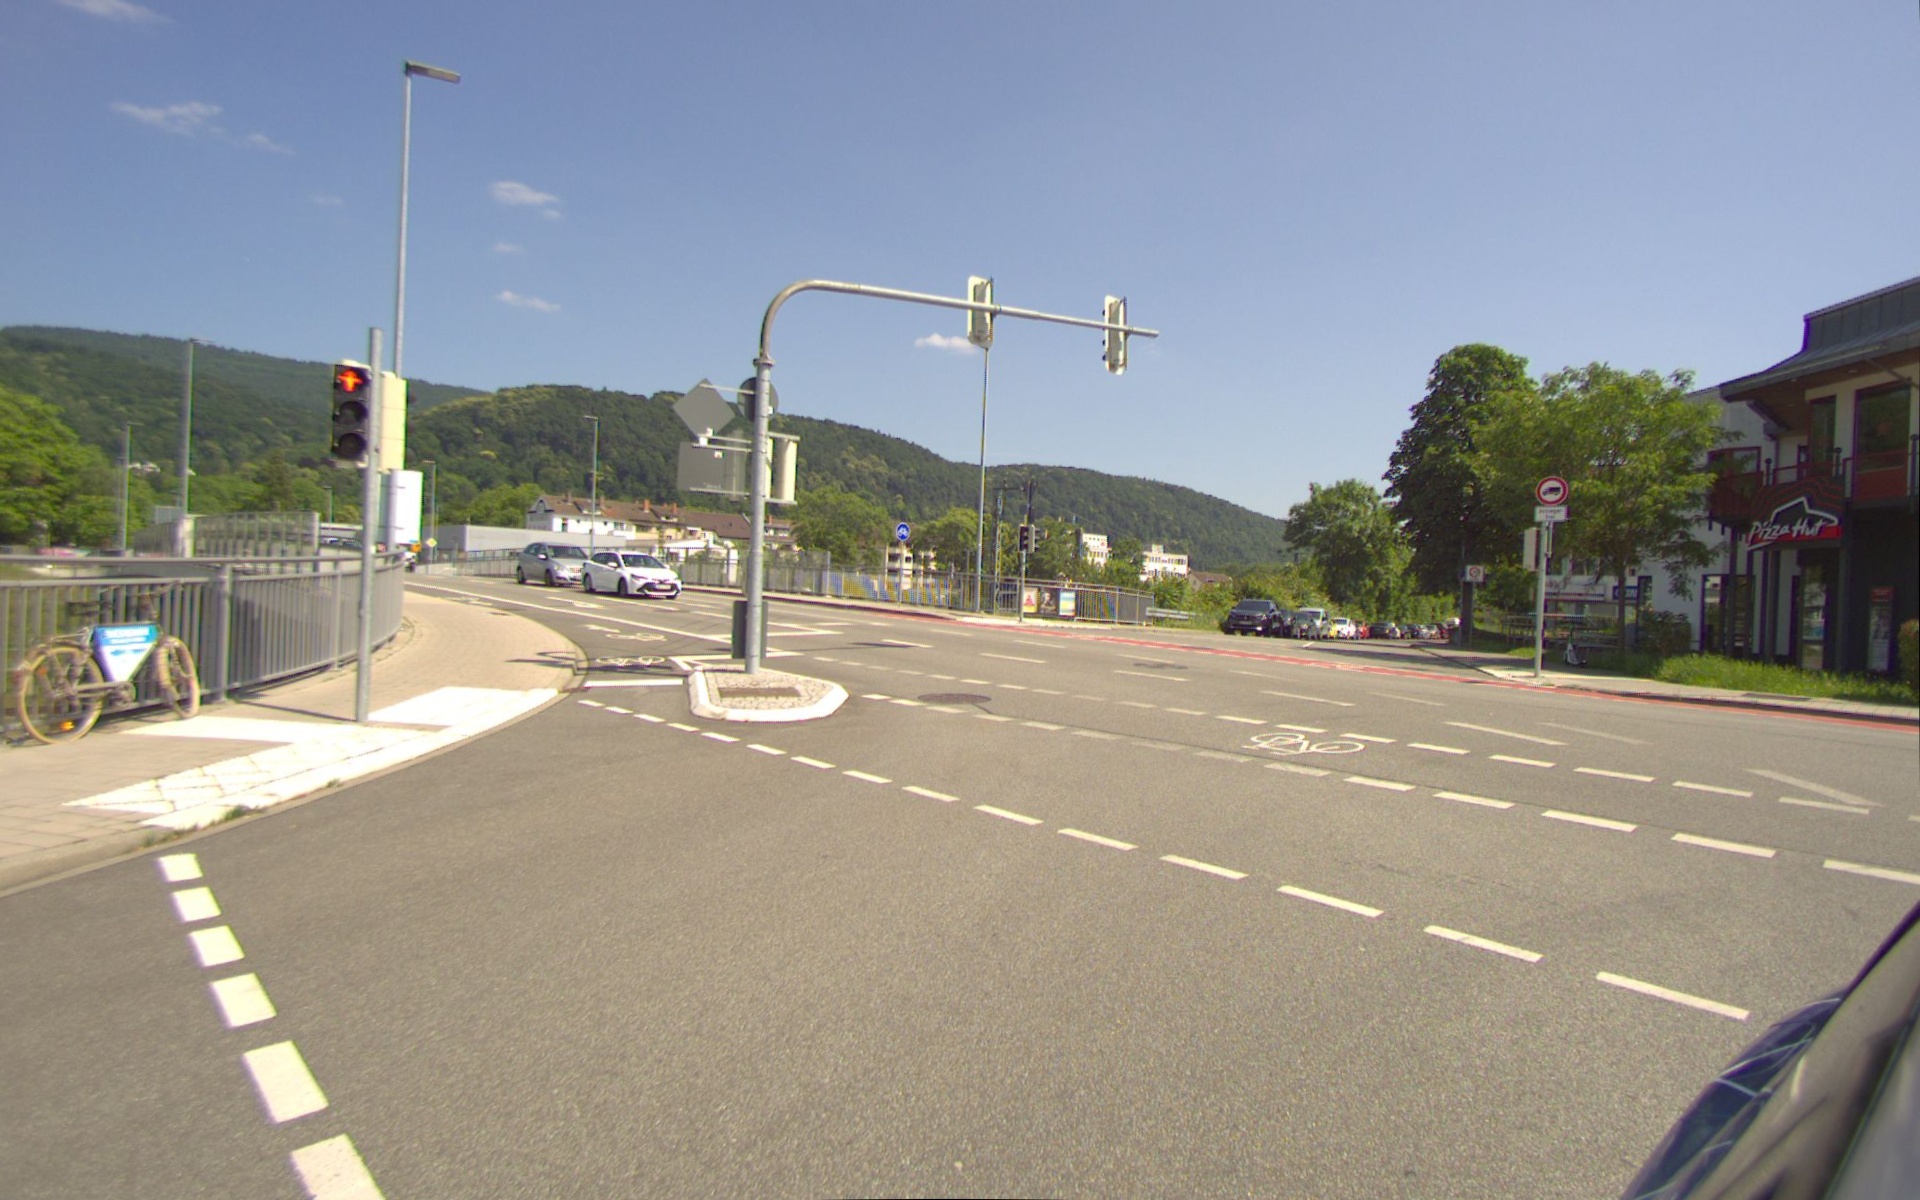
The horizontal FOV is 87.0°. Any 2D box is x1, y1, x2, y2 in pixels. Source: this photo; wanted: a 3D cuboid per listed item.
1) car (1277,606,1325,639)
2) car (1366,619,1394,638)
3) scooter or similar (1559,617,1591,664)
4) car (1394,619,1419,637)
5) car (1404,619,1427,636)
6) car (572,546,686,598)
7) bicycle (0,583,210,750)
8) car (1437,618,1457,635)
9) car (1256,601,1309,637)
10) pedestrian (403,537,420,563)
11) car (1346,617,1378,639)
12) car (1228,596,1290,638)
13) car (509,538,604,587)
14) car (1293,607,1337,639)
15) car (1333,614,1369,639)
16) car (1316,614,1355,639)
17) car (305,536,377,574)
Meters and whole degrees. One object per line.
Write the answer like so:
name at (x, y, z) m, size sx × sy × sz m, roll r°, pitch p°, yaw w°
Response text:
car at (17.821, 1.125, 52.790) m, size 1.659 × 1.552 × 3.959 m, roll 3°, pitch 1°, yaw 29°
car at (34.649, 2.325, 83.429) m, size 1.659 × 1.453 × 3.959 m, roll 3°, pitch 1°, yaw 29°
scooter or similar at (15.531, 1.000, 25.555) m, size 0.425 × 1.137 × 1.430 m, roll 3°, pitch 1°, yaw 40°
car at (40.669, 2.546, 92.122) m, size 1.658 × 1.552 × 3.959 m, roll -2°, pitch -1°, yaw 29°
car at (43.971, 2.609, 97.568) m, size 1.658 × 1.552 × 3.959 m, roll -2°, pitch -1°, yaw 29°
car at (-10.539, -0.909, 32.087) m, size 1.707 × 1.488 × 4.402 m, roll 2°, pitch 1°, yaw -43°
bicycle at (-6.449, 0.441, 7.695) m, size 0.292 × 1.114 × 1.621 m, roll 2°, pitch 1°, yaw -1°
car at (53.679, 2.897, 111.477) m, size 1.658 × 1.751 × 3.959 m, roll -2°, pitch -1°, yaw 29°
car at (15.461, 0.866, 48.392) m, size 1.659 × 1.552 × 3.959 m, roll 3°, pitch 1°, yaw 29°
pedestrian at (-43.986, -3.988, 81.177) m, size 0.843 × 2.039 × 1.153 m, roll 2°, pitch 1°, yaw -44°
car at (29.441, 2.038, 74.060) m, size 1.659 × 1.453 × 3.959 m, roll 3°, pitch 1°, yaw 29°
car at (13.047, 0.699, 44.062) m, size 1.814 × 1.647 × 4.197 m, roll 3°, pitch 1°, yaw 27°
car at (-14.844, -1.413, 37.107) m, size 1.707 × 1.646 × 4.434 m, roll 2°, pitch 1°, yaw -43°
car at (20.193, 1.264, 57.506) m, size 1.659 × 1.655 × 3.959 m, roll 3°, pitch 1°, yaw 29°
car at (26.296, 1.746, 67.967) m, size 1.659 × 1.552 × 3.959 m, roll 3°, pitch 1°, yaw 29°
car at (22.990, 1.600, 61.864) m, size 1.659 × 1.333 × 3.959 m, roll 3°, pitch 1°, yaw 29°
car at (-31.175, -2.277, 50.914) m, size 4.620 × 1.740 × 1.968 m, roll 4°, pitch 1°, yaw 44°
